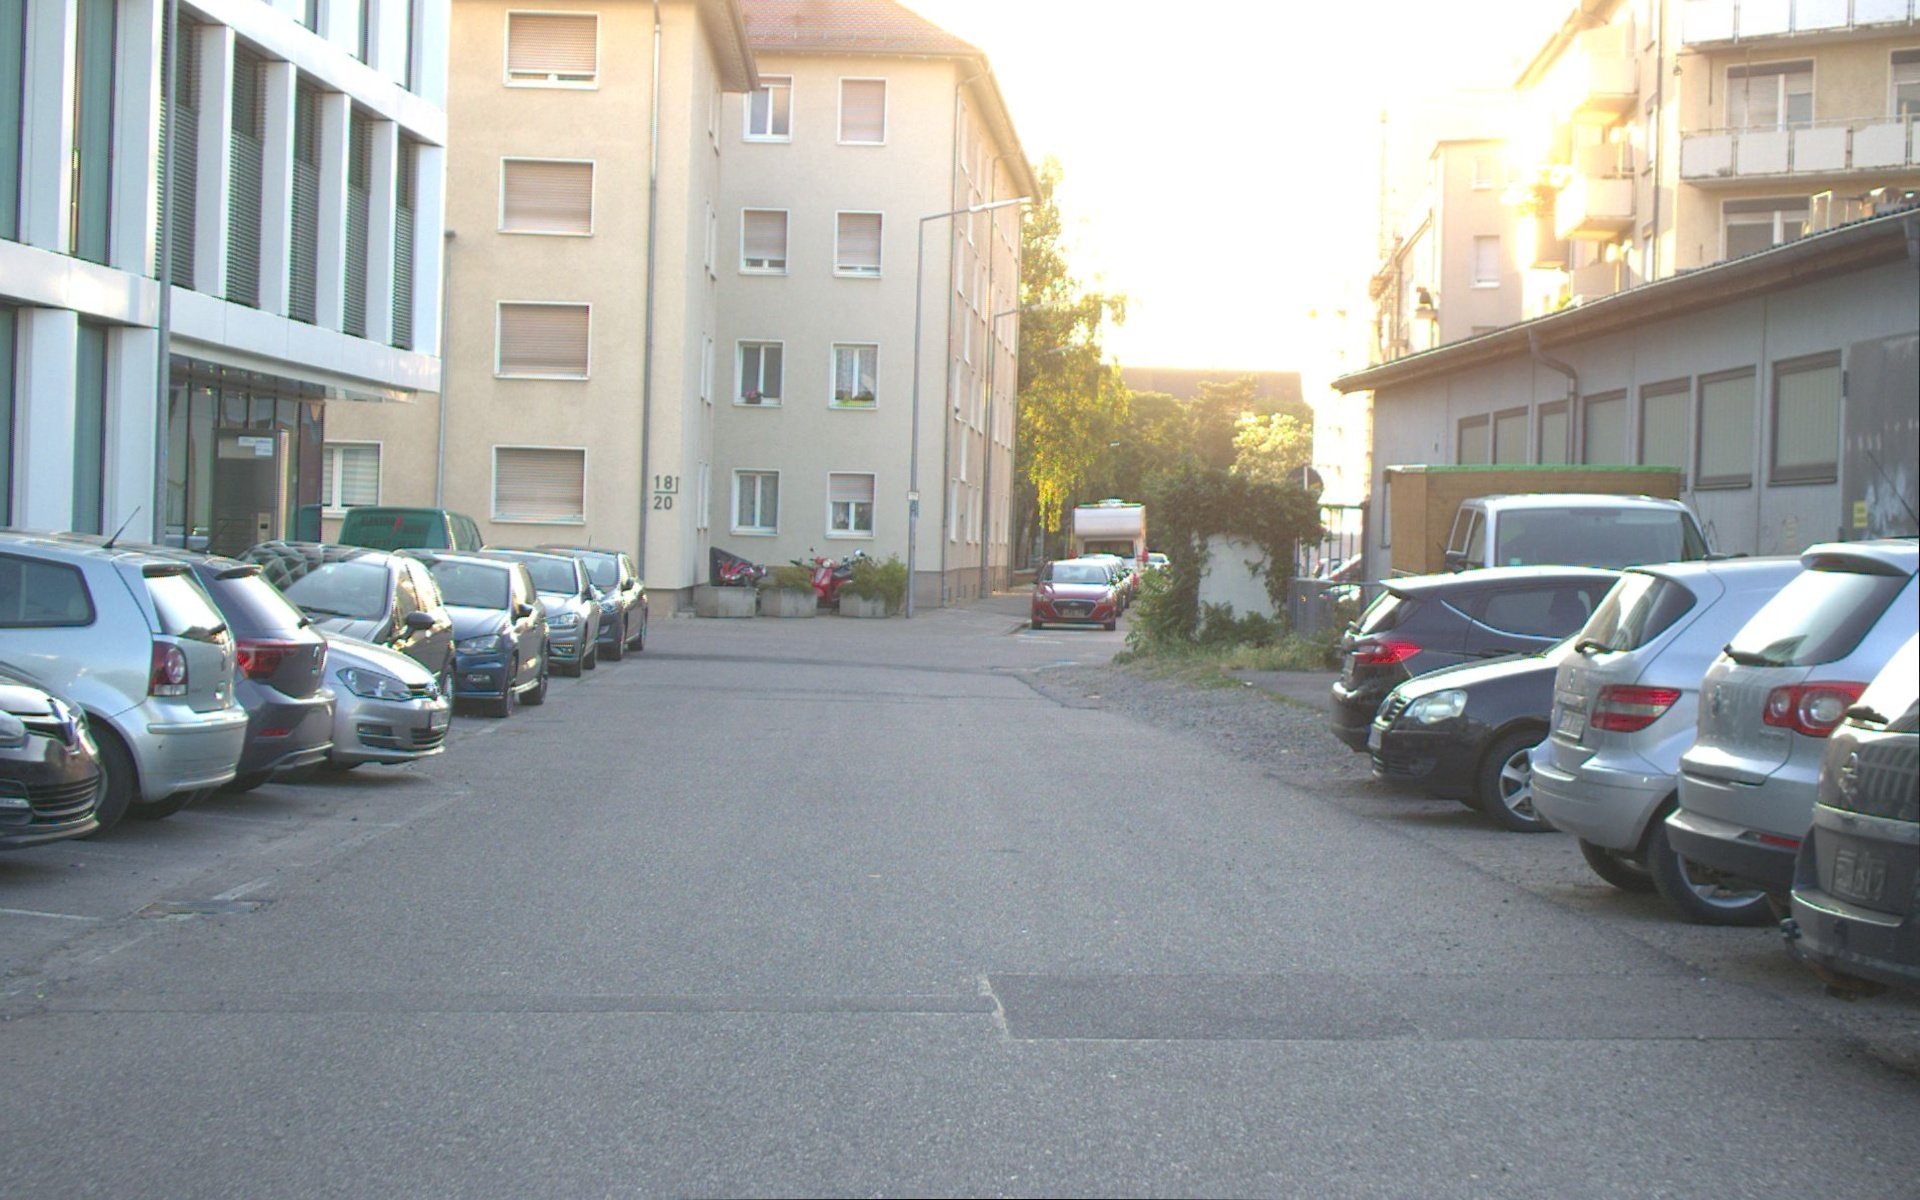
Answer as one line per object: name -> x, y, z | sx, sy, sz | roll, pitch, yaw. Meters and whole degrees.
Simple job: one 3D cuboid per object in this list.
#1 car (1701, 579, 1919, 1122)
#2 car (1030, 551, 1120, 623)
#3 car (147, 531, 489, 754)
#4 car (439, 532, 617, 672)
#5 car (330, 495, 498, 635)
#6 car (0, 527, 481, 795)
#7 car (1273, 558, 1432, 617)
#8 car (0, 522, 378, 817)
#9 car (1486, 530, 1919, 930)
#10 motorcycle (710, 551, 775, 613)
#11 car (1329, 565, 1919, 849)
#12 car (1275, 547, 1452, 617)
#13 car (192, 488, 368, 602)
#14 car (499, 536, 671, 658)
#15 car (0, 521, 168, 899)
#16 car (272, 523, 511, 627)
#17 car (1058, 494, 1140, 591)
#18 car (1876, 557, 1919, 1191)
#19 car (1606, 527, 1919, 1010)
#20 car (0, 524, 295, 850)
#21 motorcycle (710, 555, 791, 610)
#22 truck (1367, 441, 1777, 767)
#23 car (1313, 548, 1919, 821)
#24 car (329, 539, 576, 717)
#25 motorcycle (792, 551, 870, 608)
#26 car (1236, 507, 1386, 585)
car -> 4.378, 0.757, 10.052 | 3.984, 1.440, 1.827 | 3, 0, 1
car -> 2.469, -0.295, 73.883 | 1.845, 1.468, 4.078 | 2, 1, 2
car -> -4.847, 0.271, 26.505 | 1.648, 1.434, 4.202 | 5, 1, 1
car -> -5.244, -0.019, 42.179 | 1.710, 1.474, 4.185 | 5, 1, -2
car -> -8.331, -0.578, 52.801 | 1.798, 1.973, 4.690 | 2, 2, 0
car -> -5.259, 0.345, 22.375 | 3.927, 1.506, 1.687 | 3, 1, 3
car -> 11.017, -0.353, 96.728 | 4.324, 1.632, 1.818 | 0, 0, 3
car -> -5.375, 0.329, 19.790 | 3.655, 1.506, 1.687 | 3, 1, 3
car -> 4.534, 0.586, 15.361 | 3.983, 1.604, 1.939 | 3, 1, -1
motorcycle -> -4.547, -0.383, 71.896 | 0.724, 1.260, 2.079 | 2, 1, 14
car -> 4.180, 0.611, 20.146 | 3.759, 1.439, 1.845 | 3, 0, -1
car -> 11.069, -0.495, 94.541 | 4.722, 1.903, 2.059 | 0, 0, 3
car -> -10.388, -0.805, 52.785 | 1.779, 1.545, 4.331 | 2, -1, 0
car -> -5.174, -0.078, 47.871 | 1.779, 1.474, 4.331 | 5, 1, 0
car -> -5.701, 0.347, 15.022 | 3.965, 1.506, 1.796 | 3, 1, 4
car -> -10.258, -0.467, 62.195 | 4.006, 1.612, 1.881 | 2, 5, -1
car -> 4.847, -1.978, 118.857 | 2.620, 3.258, 7.696 | 0, 1, 4
car -> 4.370, 0.740, 7.505 | 4.203, 1.498, 1.890 | 3, 0, 2
car -> 4.606, 0.636, 12.673 | 3.983, 1.613, 1.827 | 3, 1, -3
car -> -5.447, 0.351, 17.617 | 3.655, 1.506, 1.687 | 3, 1, 3
motorcycle -> -4.232, -0.354, 69.595 | 0.724, 1.075, 2.078 | 2, 1, 24
truck -> 4.569, -0.014, 26.635 | 2.098, 2.193, 5.711 | 2, 1, 0
car -> 4.311, 0.518, 22.638 | 3.759, 1.530, 1.891 | 3, 2, 2
car -> -4.724, 0.210, 32.514 | 1.648, 1.434, 4.185 | 5, 1, -1
motorcycle -> -2.693, -0.425, 72.004 | 0.689, 1.156, 2.031 | 2, 1, 28
car -> 12.382, -1.890, 121.258 | 4.825, 2.708, 2.132 | 1, 1, 30
